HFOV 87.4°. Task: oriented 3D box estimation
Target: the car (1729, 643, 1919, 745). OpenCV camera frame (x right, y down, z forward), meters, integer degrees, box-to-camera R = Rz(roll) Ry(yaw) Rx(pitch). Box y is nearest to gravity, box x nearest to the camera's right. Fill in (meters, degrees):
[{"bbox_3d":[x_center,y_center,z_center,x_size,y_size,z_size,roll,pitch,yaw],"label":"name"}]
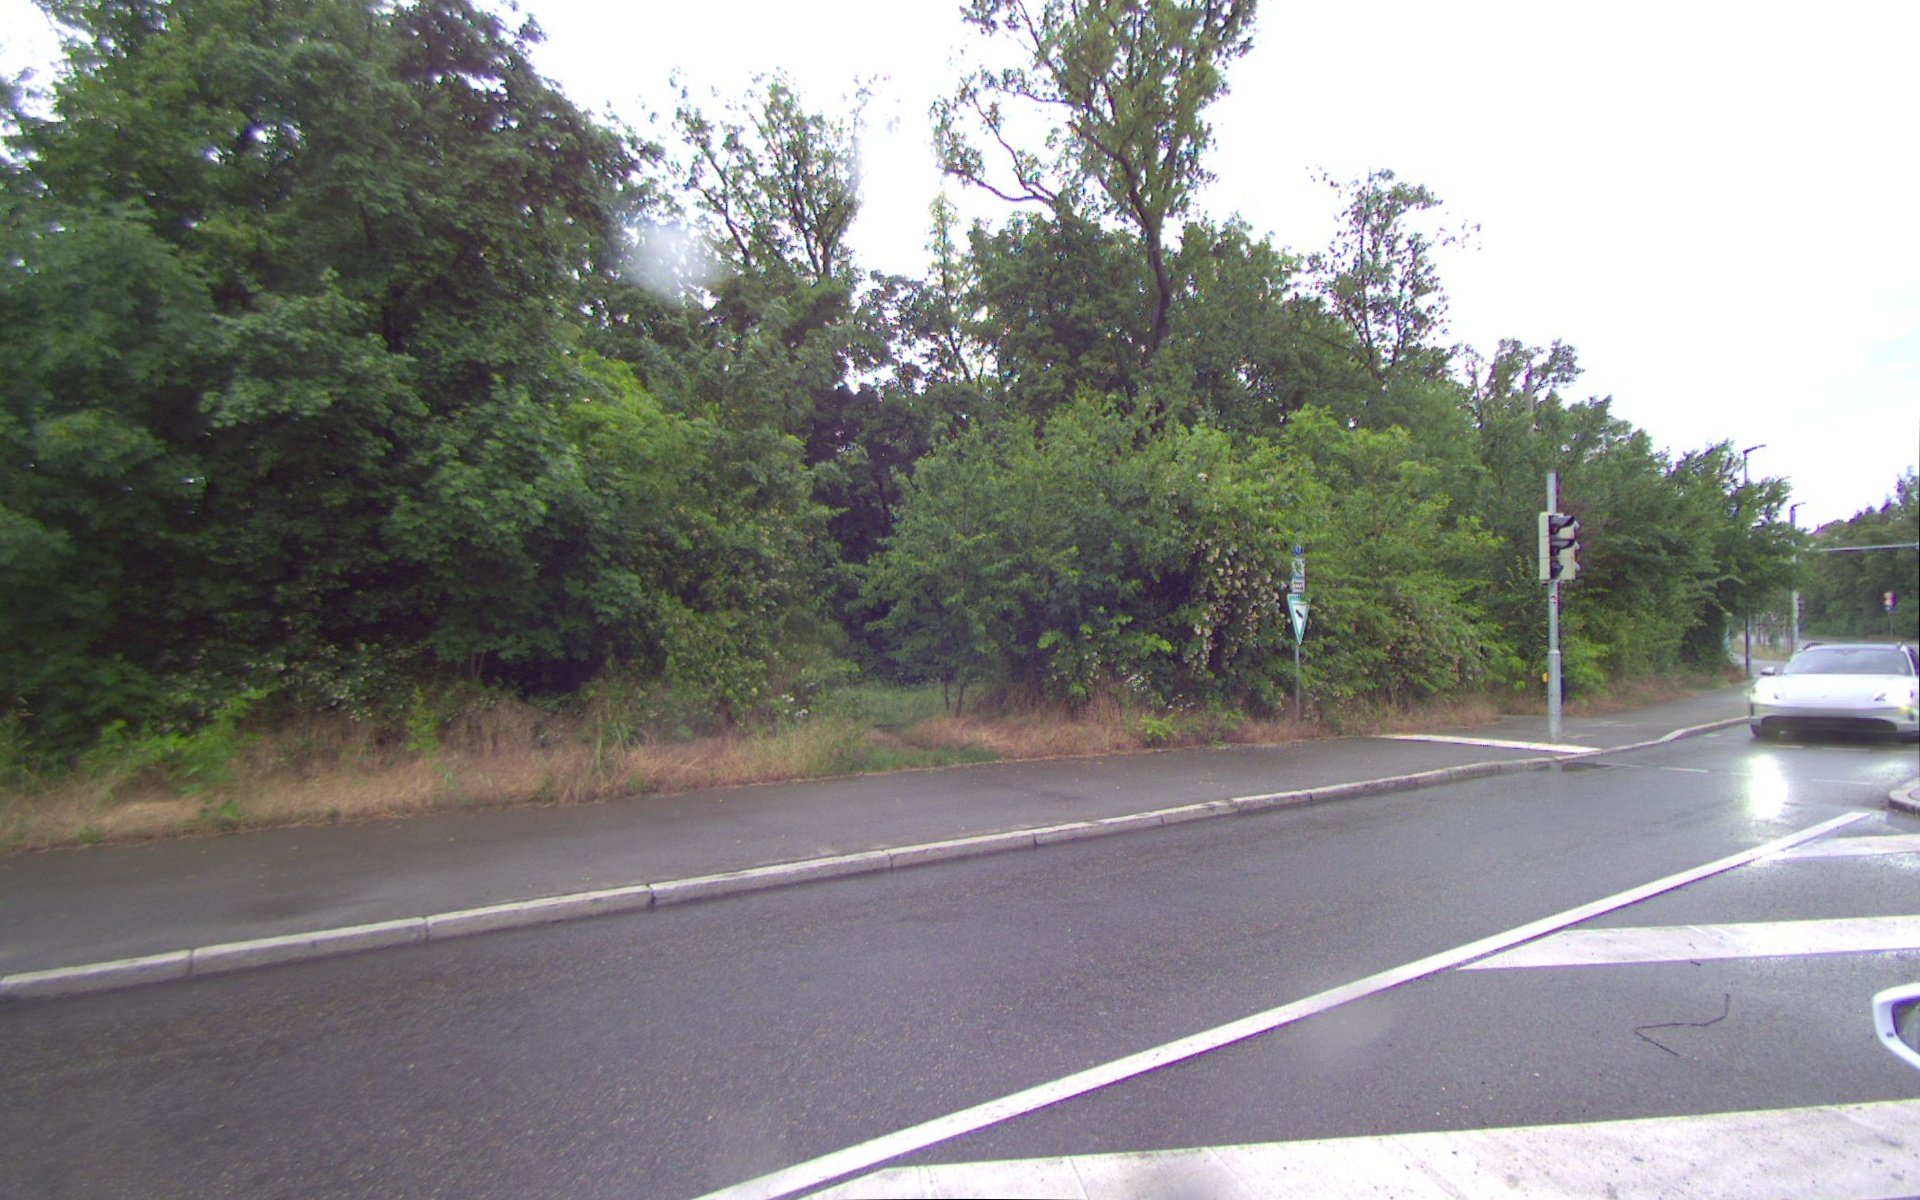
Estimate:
[{"bbox_3d":[13.709,1.366,15.546,4.324,1.328,1.977,1,-4,-40],"label":"car"}]
